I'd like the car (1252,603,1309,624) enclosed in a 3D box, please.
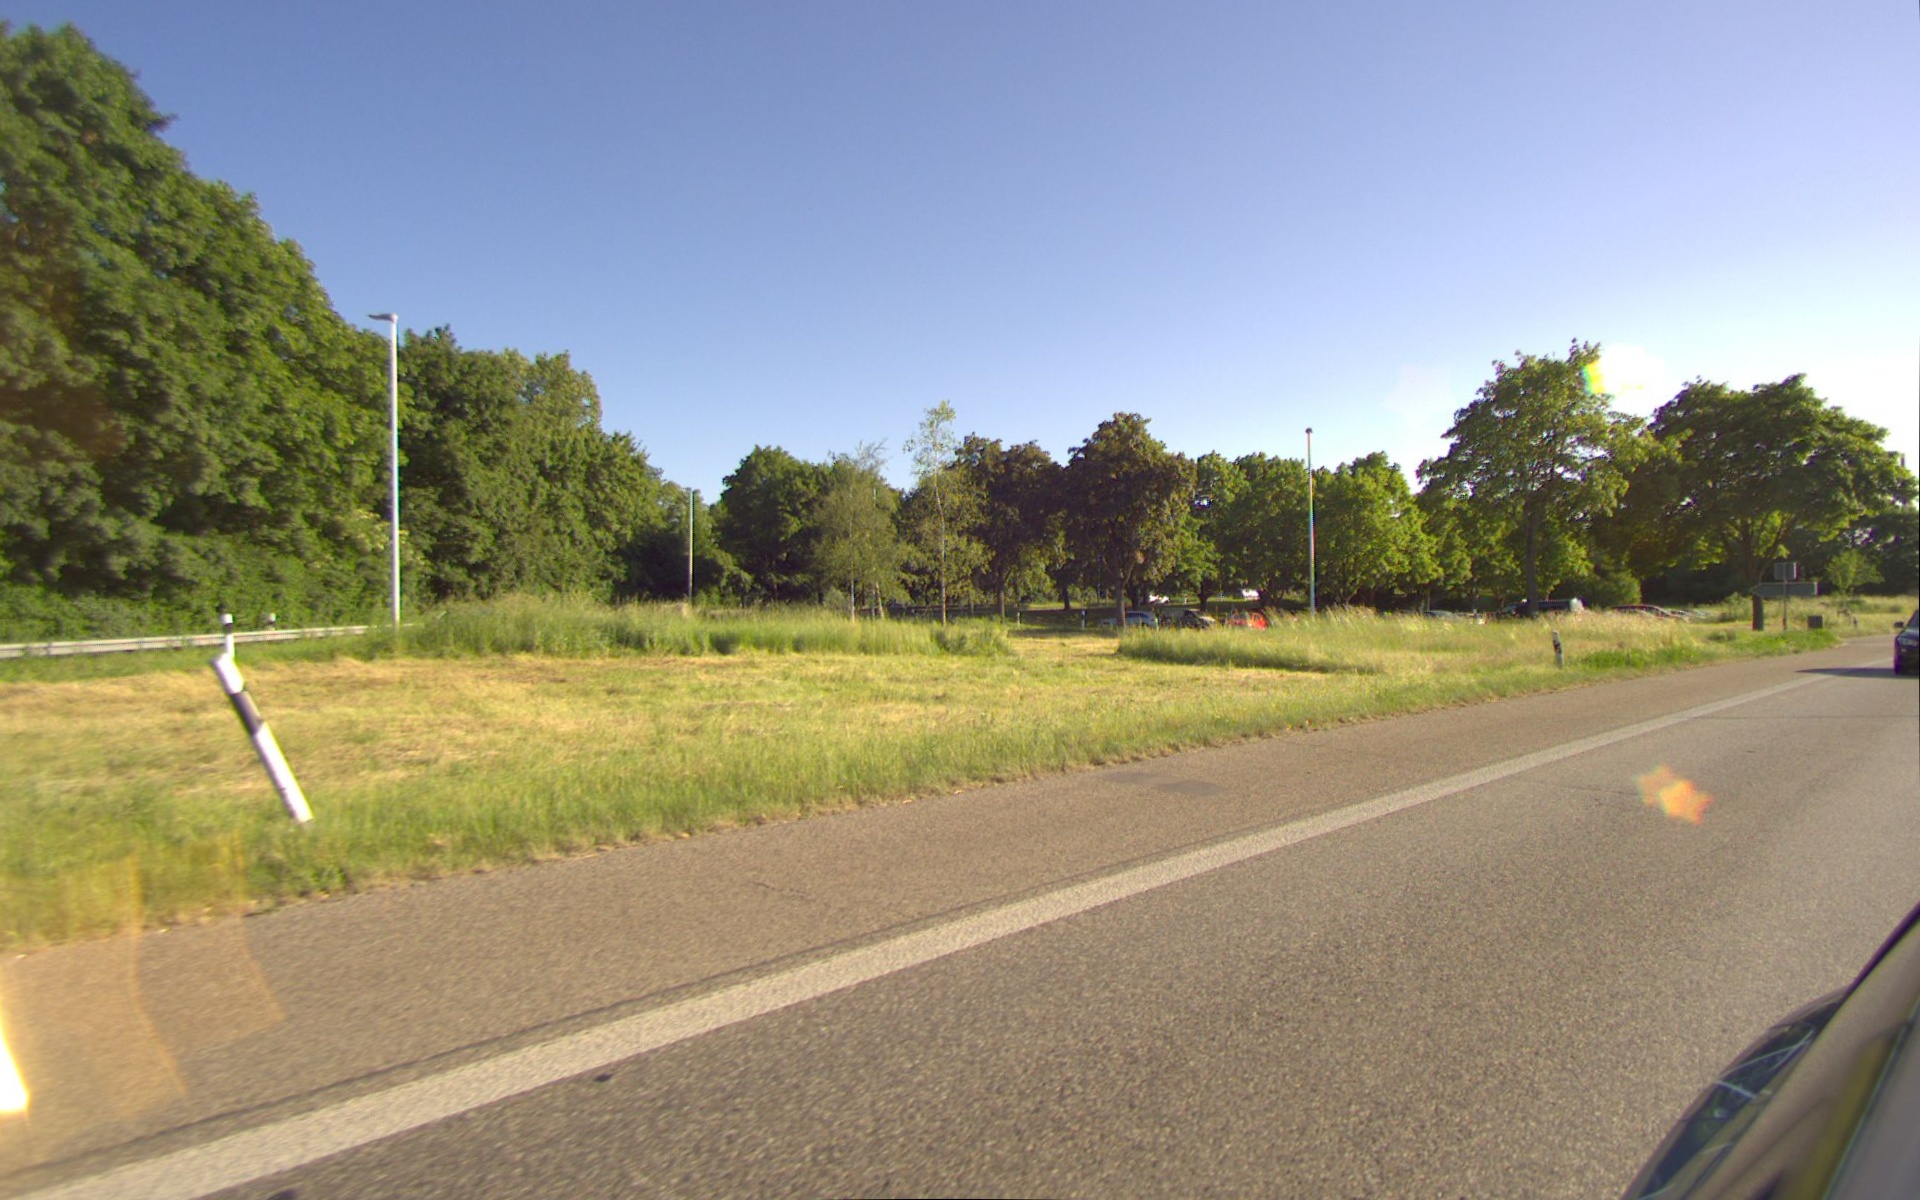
[{"bbox_3d":[29.294,1.187,92.609,4.583,1.798,1.917,1,2,44],"label":"car"}]

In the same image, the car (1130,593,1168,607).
[{"bbox_3d":[21.185,-0.013,113.329,3.920,1.597,1.911,0,-1,-31],"label":"car"}]

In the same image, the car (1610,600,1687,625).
[{"bbox_3d":[48.015,0.890,70.641,1.927,1.520,4.012,-1,-2,-40],"label":"car"}]

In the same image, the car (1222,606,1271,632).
[{"bbox_3d":[17.347,1.125,61.171,1.690,1.482,4.101,-1,-1,32],"label":"car"}]

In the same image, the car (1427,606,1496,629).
[{"bbox_3d":[38.061,1.321,76.867,1.711,1.530,4.288,-2,-2,-42],"label":"car"}]

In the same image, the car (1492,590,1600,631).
[{"bbox_3d":[34.550,0.649,59.780,2.053,2.163,5.050,-1,-2,-32],"label":"car"}]

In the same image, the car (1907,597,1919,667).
[{"bbox_3d":[22.924,0.709,22.945,4.499,1.525,1.701,1,-1,-42],"label":"car"}]

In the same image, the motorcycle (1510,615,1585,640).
[{"bbox_3d":[26.284,1.222,45.335,2.788,1.083,0.817,0,0,9],"label":"motorcycle"}]

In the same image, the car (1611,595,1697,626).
[{"bbox_3d":[49.855,0.765,72.761,1.993,2.048,4.794,-4,2,-42],"label":"car"}]

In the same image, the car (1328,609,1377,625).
[{"bbox_3d":[38.802,1.695,100.172,1.835,1.441,4.114,-4,2,-42],"label":"car"}]

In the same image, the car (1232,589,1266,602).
[{"bbox_3d":[35.617,-0.516,124.595,3.920,1.597,1.911,0,-1,-31],"label":"car"}]

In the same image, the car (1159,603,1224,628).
[{"bbox_3d":[19.256,1.266,84.493,1.923,1.889,5.200,-1,1,-40],"label":"car"}]

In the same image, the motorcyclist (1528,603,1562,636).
[{"bbox_3d":[26.216,0.853,45.344,1.075,1.466,0.817,0,0,9],"label":"motorcyclist"}]

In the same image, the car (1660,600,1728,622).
[{"bbox_3d":[56.114,0.852,77.412,1.892,1.478,3.936,-4,2,-42],"label":"car"}]

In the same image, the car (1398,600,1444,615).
[{"bbox_3d":[49.639,0.825,108.942,1.835,1.441,4.114,-4,2,-42],"label":"car"}]

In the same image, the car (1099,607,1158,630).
[{"bbox_3d":[12.565,1.375,75.426,4.170,1.580,1.777,-1,-1,18],"label":"car"}]
